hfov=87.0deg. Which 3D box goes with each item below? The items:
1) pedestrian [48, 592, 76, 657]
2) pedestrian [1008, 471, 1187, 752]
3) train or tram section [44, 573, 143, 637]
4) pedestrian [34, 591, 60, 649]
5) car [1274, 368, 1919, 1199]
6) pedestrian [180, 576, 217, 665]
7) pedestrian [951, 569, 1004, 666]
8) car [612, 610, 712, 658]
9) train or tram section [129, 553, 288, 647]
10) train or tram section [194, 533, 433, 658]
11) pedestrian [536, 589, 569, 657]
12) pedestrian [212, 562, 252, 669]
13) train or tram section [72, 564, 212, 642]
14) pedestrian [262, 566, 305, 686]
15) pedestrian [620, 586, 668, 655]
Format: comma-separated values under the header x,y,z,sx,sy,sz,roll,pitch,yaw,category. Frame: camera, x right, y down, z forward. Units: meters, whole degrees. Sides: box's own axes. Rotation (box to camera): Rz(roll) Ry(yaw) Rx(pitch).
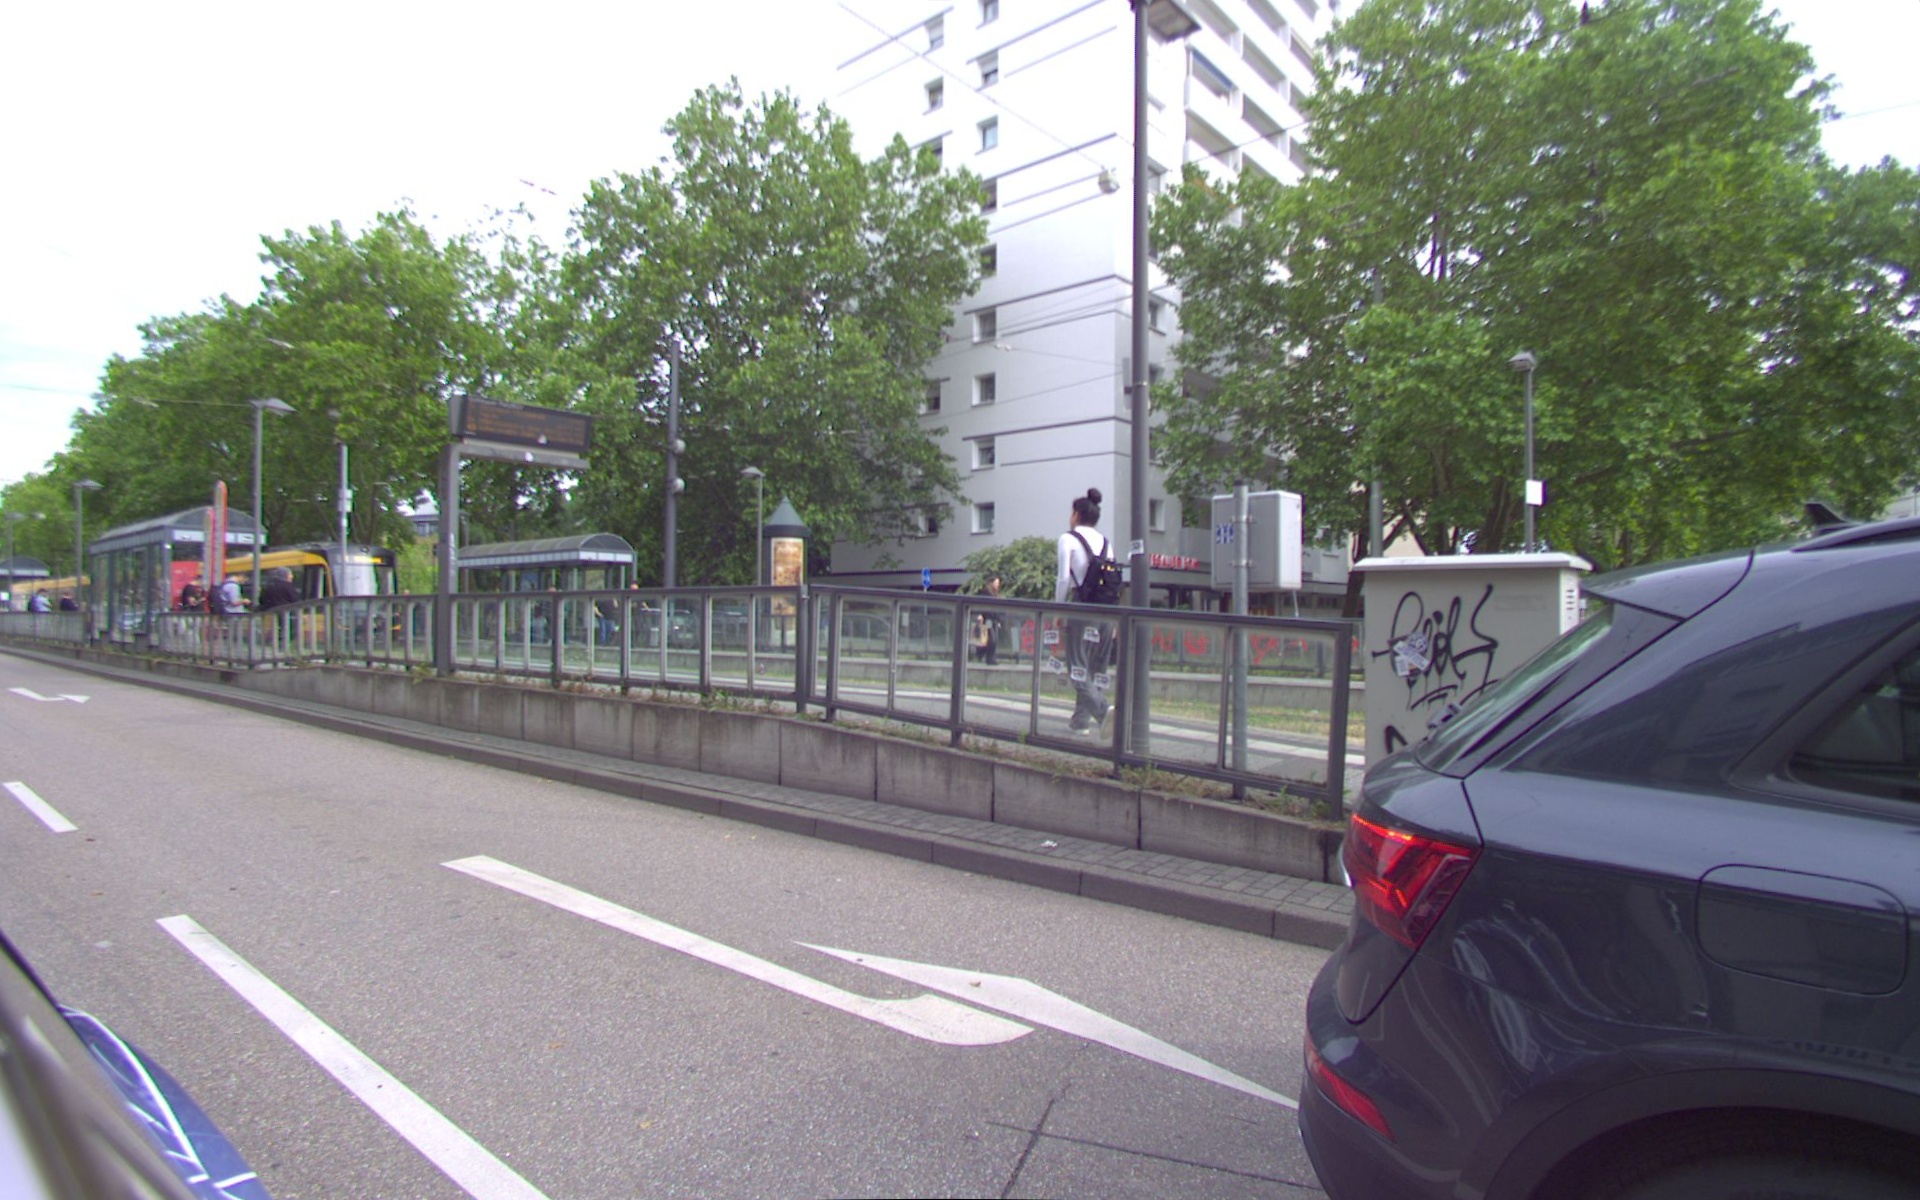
x,y,z,sx,sy,sz,roll,pitch,yaw,category
-25.570,0.691,28.831,0.523,1.818,0.607,-1,0,-35,pedestrian
0.883,0.067,6.668,0.709,1.683,0.982,-1,0,-27,pedestrian
-55.557,0.327,64.769,11.039,3.781,3.295,-1,0,41,train or tram section
-29.039,0.622,32.193,0.523,1.818,0.607,-1,0,-35,pedestrian
2.688,0.529,0.981,4.225,1.649,1.715,-1,0,41,car
-15.927,0.418,21.170,0.467,1.818,0.607,-1,0,-24,pedestrian
0.330,0.319,18.827,0.666,1.763,0.728,-1,0,41,pedestrian
-9.389,1.048,31.826,3.218,1.439,1.561,-1,-1,41,car
-34.553,0.058,46.232,12.543,3.781,3.295,-1,0,41,train or tram section
-24.113,-0.076,37.058,15.196,3.781,3.295,-1,0,41,train or tram section
-11.862,0.662,29.463,0.553,1.945,0.690,-1,0,41,pedestrian
-12.753,0.265,17.725,0.605,1.818,0.469,-1,0,45,pedestrian
-45.333,0.196,55.742,16.241,3.781,3.295,-1,0,41,train or tram section
-10.531,0.388,15.750,0.513,1.818,0.606,-1,0,-37,pedestrian
-8.246,0.526,26.421,0.850,1.769,0.871,-1,0,41,pedestrian
